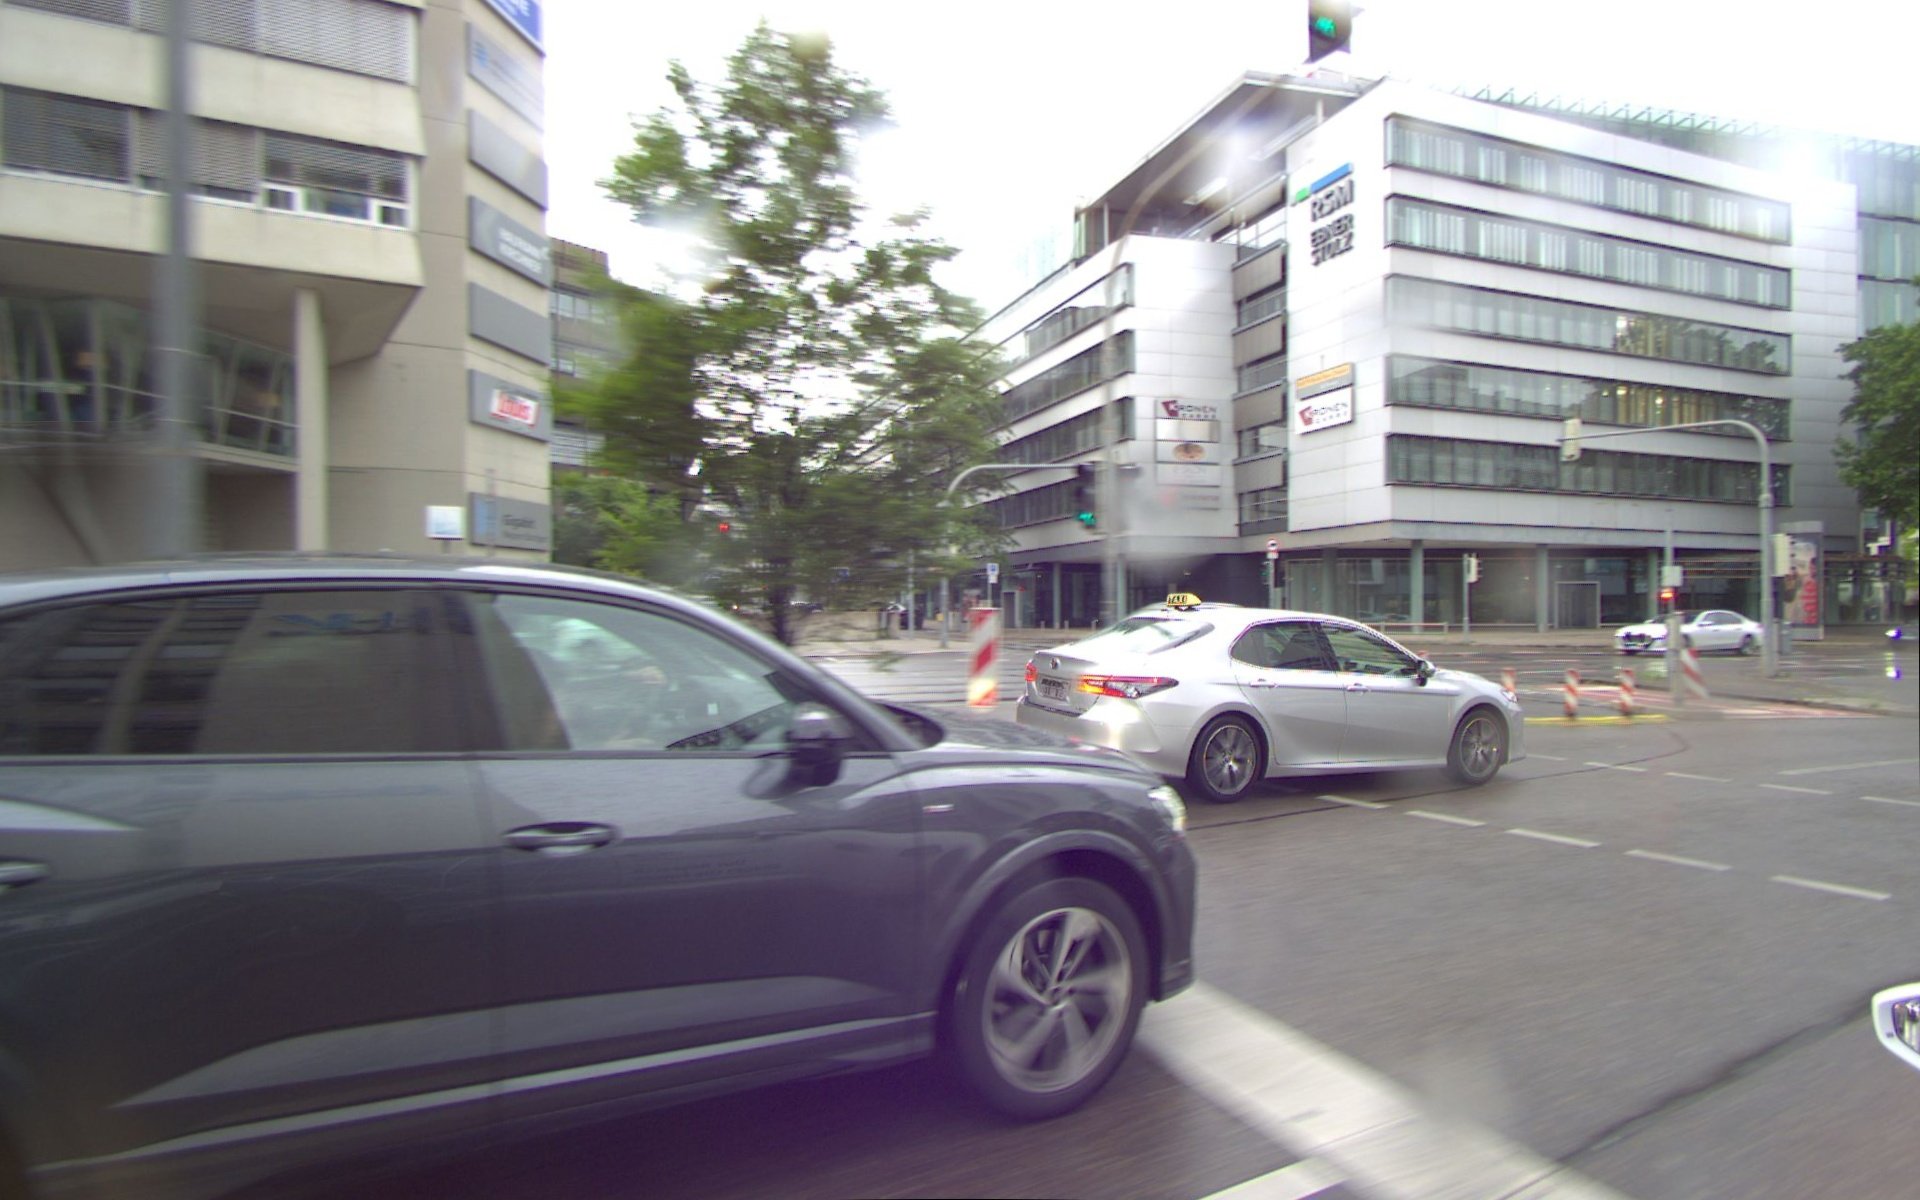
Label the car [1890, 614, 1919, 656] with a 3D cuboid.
[{"bbox_3d":[38.513,1.350,38.963,4.520,1.580,1.630,0,0,-19],"label":"car"}]

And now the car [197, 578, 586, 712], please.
[{"bbox_3d":[-6.688,0.533,12.198,3.820,1.404,1.683,2,0,-28],"label":"car"}]

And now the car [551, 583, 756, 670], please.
[{"bbox_3d":[-6.149,0.543,20.189,3.671,1.592,1.632,2,0,-28],"label":"car"}]

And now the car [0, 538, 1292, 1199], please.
[{"bbox_3d":[-1.131,0.677,2.916,4.223,1.542,1.639,1,0,-32],"label":"car"}]

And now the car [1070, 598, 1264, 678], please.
[{"bbox_3d":[4.546,0.804,21.921,4.036,1.602,1.636,1,0,-29],"label":"car"}]

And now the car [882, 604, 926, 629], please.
[{"bbox_3d":[-3.710,1.100,66.251,1.671,1.491,3.979,2,0,-22],"label":"car"}]

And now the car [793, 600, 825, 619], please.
[{"bbox_3d":[-13.966,0.893,92.675,1.767,1.617,3.861,1,0,-27],"label":"car"}]

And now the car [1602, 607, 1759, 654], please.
[{"bbox_3d":[24.686,1.006,34.404,5.116,1.530,1.811,0,0,-20],"label":"car"}]

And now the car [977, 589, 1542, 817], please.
[{"bbox_3d":[2.669,0.755,8.770,4.714,1.554,1.859,1,0,-26],"label":"car"}]
